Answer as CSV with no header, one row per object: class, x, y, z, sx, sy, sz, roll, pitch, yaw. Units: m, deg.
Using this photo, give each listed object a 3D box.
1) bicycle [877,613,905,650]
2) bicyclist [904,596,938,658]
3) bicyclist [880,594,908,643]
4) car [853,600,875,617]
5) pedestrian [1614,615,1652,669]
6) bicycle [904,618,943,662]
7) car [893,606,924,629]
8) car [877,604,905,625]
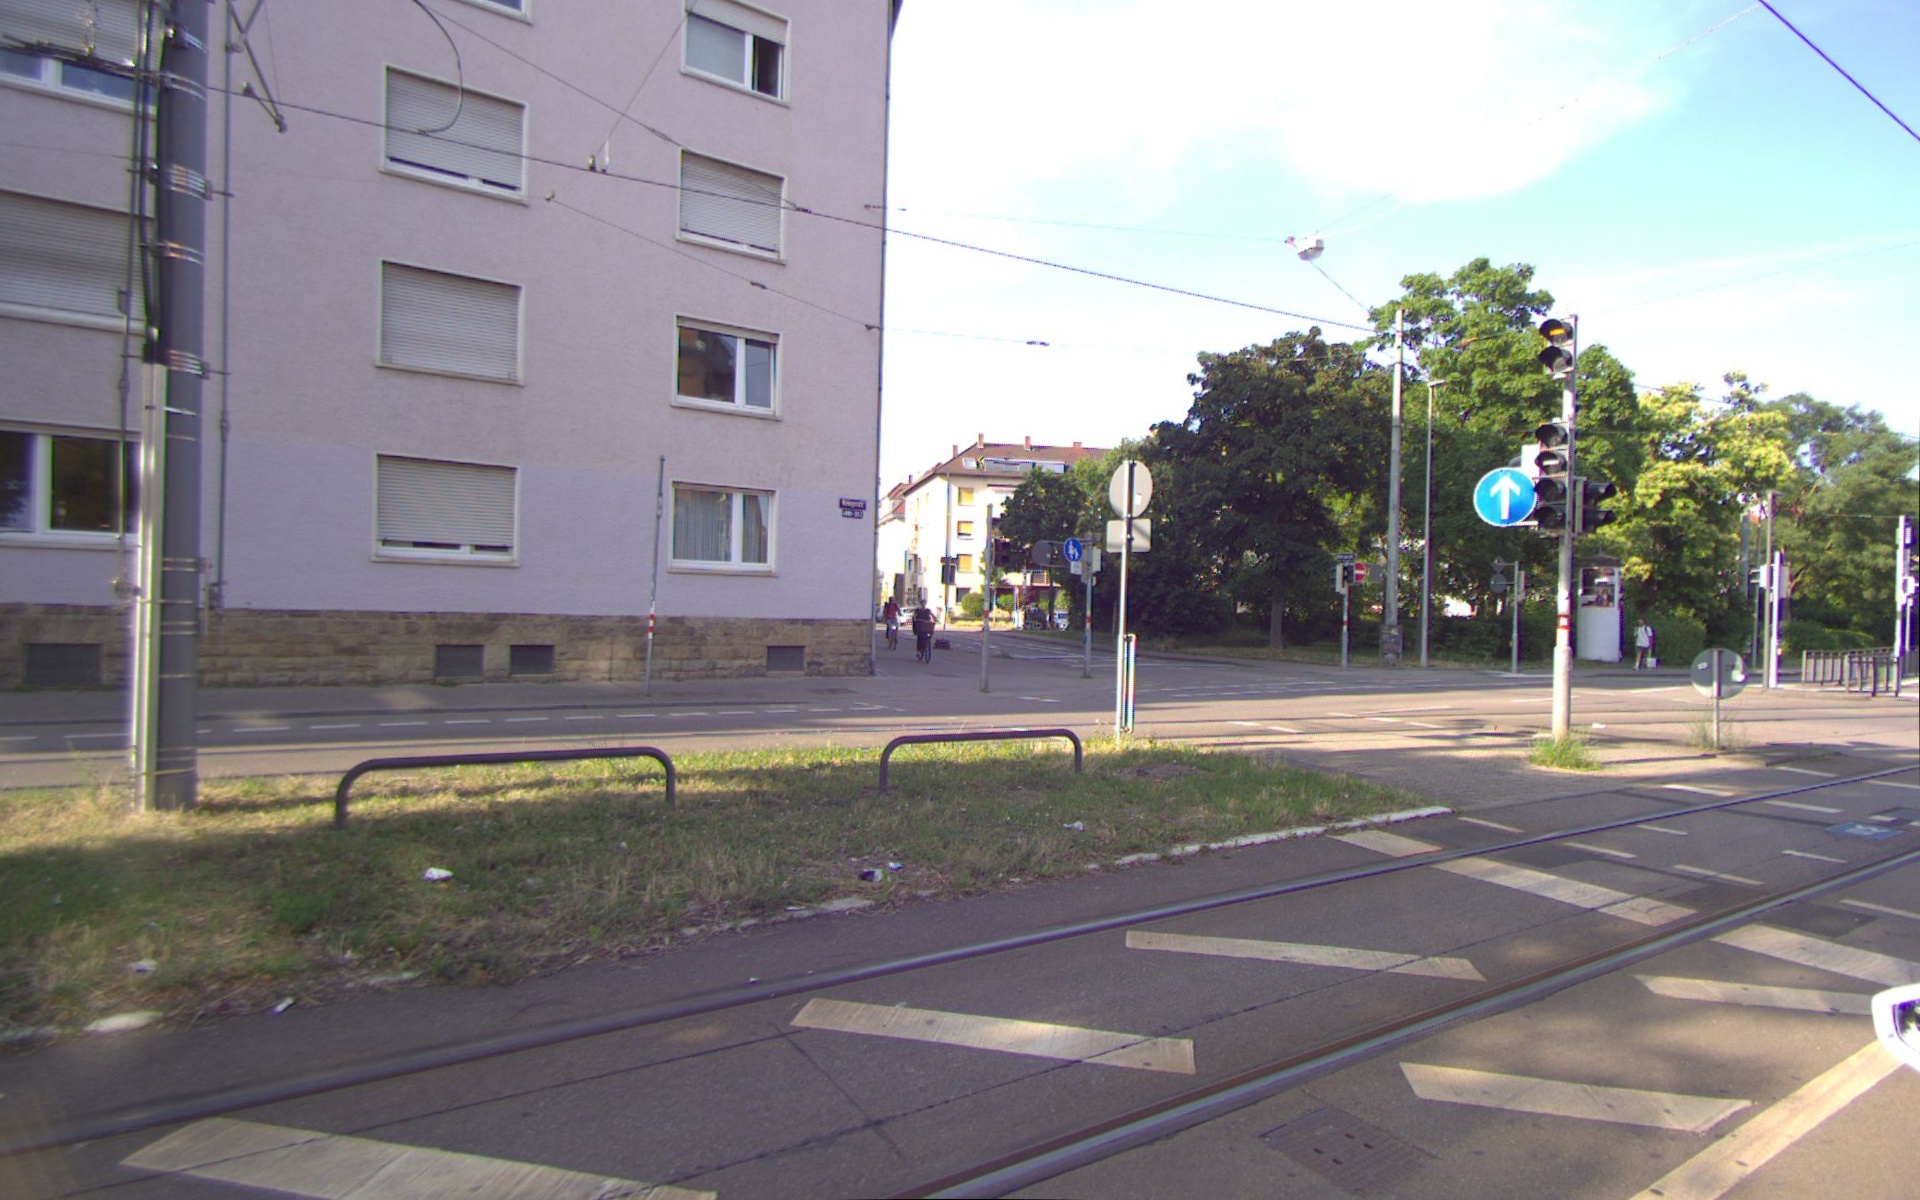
bicycle,-2.460,1.093,35.589,0.722,1.219,1.976,2,1,-11
bicyclist,-1.090,0.743,27.880,0.781,1.664,0.772,1,0,-12
bicyclist,-2.300,0.645,34.976,0.800,1.664,0.851,2,1,-12
car,-10.987,0.974,115.210,1.966,1.748,3.989,2,1,-13
pedestrian,24.765,1.537,36.955,0.992,1.935,0.704,3,1,45
bicycle,-1.030,1.090,27.690,0.722,1.125,1.912,1,0,-12
car,-4.372,1.486,85.231,1.966,1.748,3.989,2,1,-13
car,-6.439,1.340,93.198,1.966,1.748,3.989,2,1,-13
